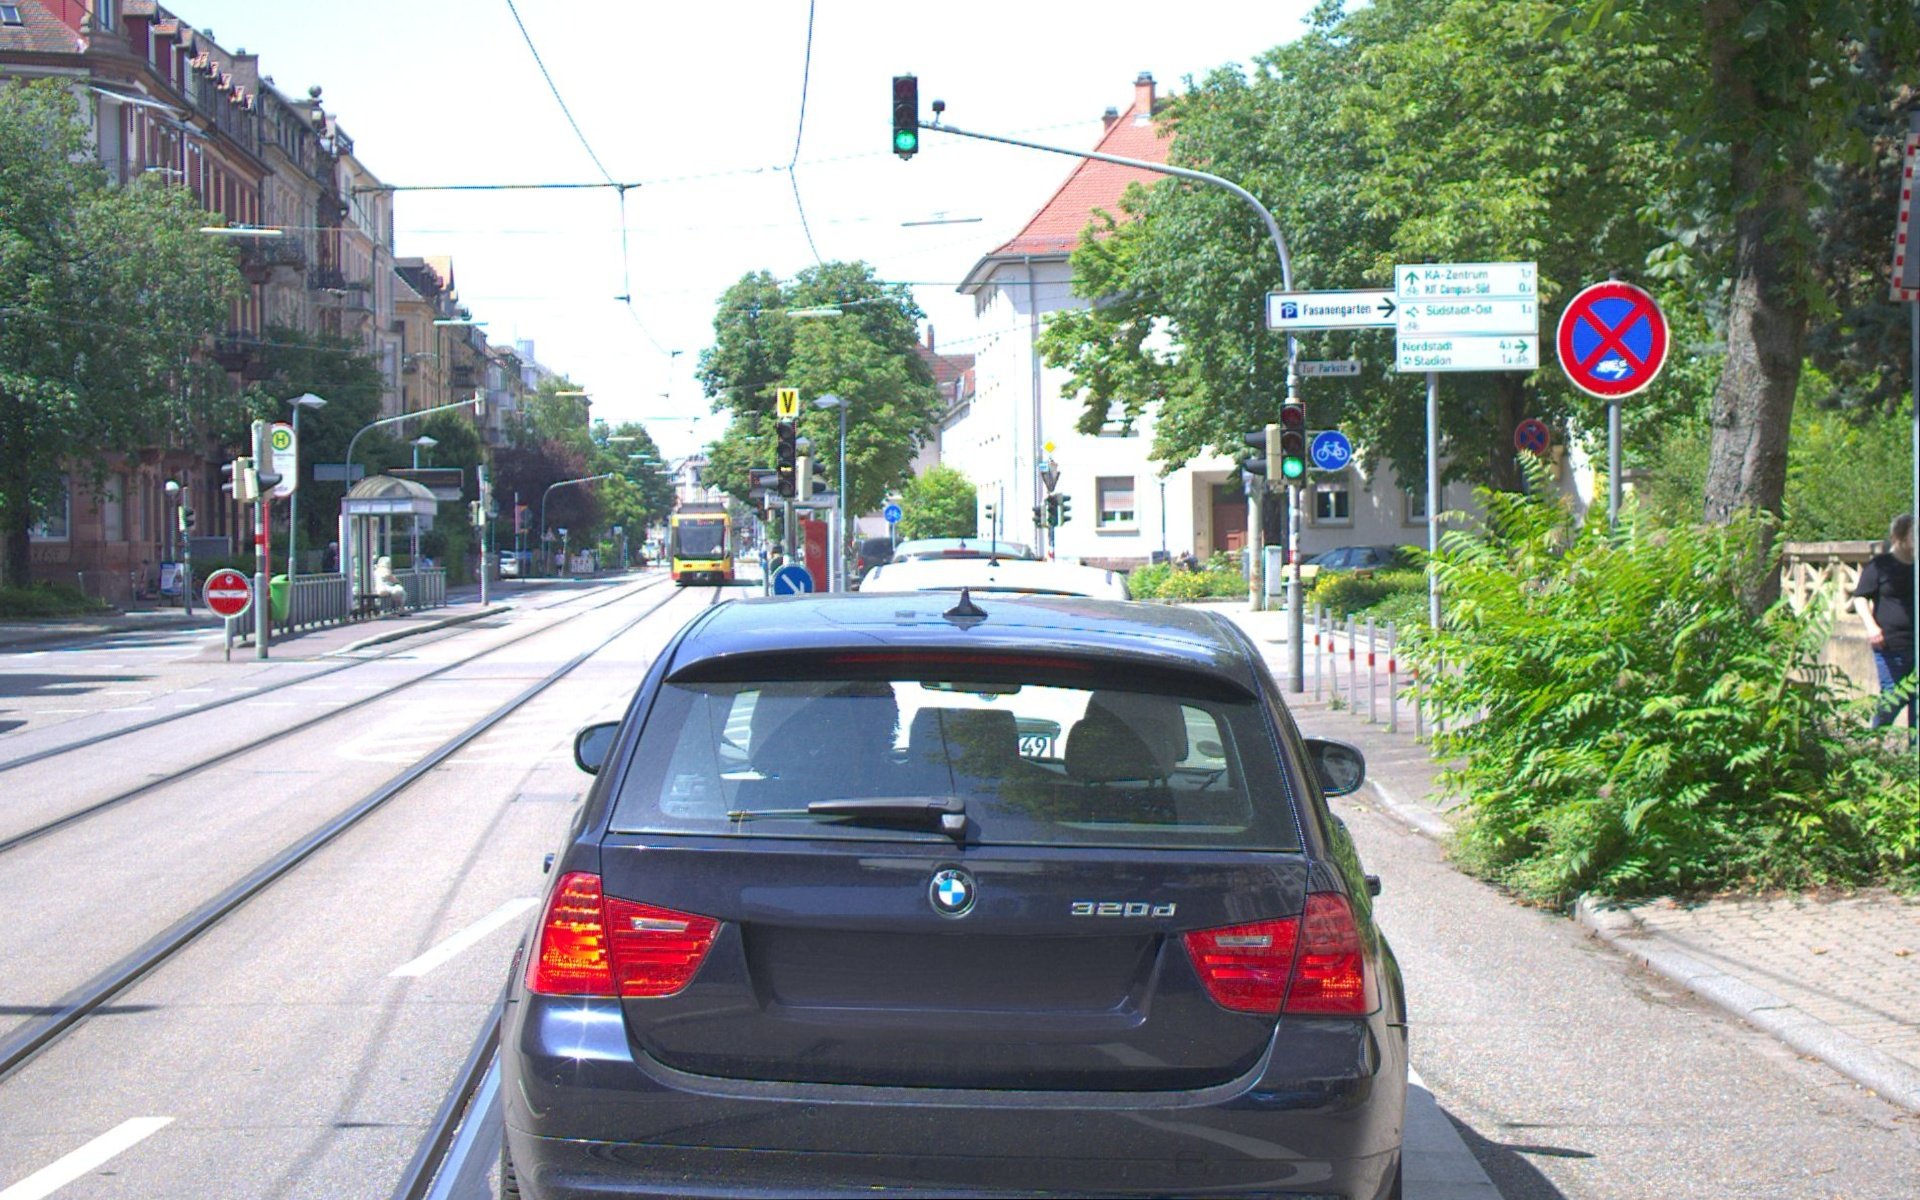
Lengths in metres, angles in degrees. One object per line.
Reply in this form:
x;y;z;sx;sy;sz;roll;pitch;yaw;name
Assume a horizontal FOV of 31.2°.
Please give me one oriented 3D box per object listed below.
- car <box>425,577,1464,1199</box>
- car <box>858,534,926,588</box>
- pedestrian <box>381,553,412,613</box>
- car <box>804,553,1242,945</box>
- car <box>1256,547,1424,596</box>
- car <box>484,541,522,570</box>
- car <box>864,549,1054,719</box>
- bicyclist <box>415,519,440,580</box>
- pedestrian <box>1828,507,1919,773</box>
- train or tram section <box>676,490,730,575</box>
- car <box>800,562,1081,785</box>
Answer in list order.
0.029;0.698;8.072;1.722;1.404;4.565;2;1;2;car
-2.433;-1.395;122.177;1.993;1.842;4.001;-1;1;-7;car
-11.721;-0.365;71.527;0.613;1.238;0.628;-1;1;-9;pedestrian
0.199;0.552;15.163;1.685;1.479;3.685;-1;1;-1;car
9.783;-0.739;88.634;3.994;1.239;1.620;0;1;32;car
-25.995;-2.538;195.543;1.787;1.580;4.001;1;0;-12;car
-0.006;0.273;32.679;1.691;1.508;3.821;0;1;0;car
-16.556;-1.573;106.905;0.722;1.864;0.825;-1;1;-5;bicyclist
5.972;0.237;21.601;0.857;1.640;0.836;-1;1;4;pedestrian
-10.915;-2.865;146.389;2.190;3.470;8.847;-1;1;-4;train or tram section
-0.207;0.422;22.694;1.691;1.318;3.822;0;1;-3;car
